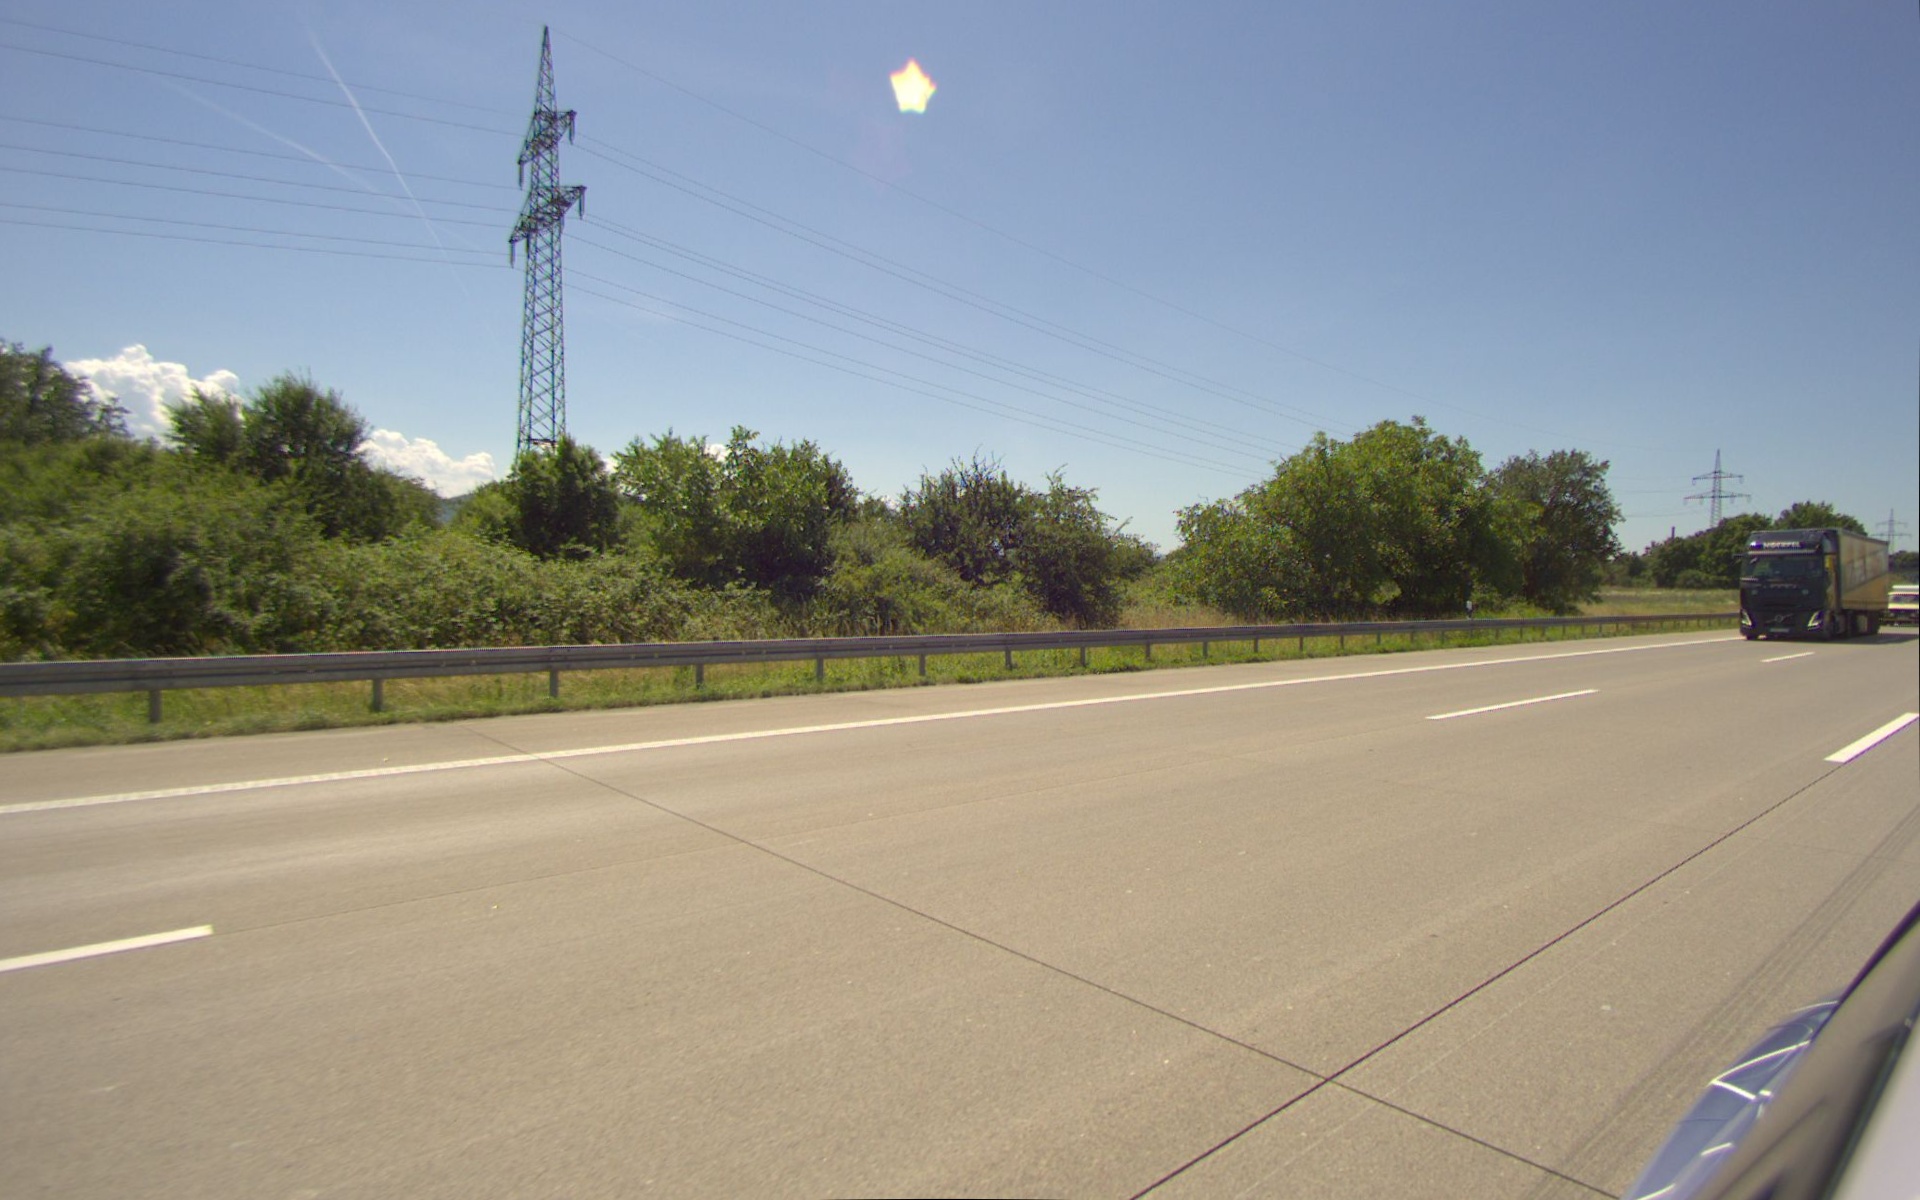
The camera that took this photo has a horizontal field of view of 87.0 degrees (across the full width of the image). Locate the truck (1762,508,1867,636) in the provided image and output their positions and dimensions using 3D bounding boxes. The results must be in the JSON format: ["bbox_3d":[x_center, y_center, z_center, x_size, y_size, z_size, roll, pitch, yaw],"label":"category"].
[{"bbox_3d":[30.554,-0.936,36.129,5.606,4.246,1.997,0,0,-41],"label":"truck"}]

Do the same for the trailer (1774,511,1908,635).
[{"bbox_3d":[35.354,-0.968,40.304,14.487,4.246,1.997,0,0,-41],"label":"trailer"}]

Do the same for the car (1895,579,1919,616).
[{"bbox_3d":[53.346,-0.142,56.107,3.752,2.039,1.787,0,0,-41],"label":"car"}]

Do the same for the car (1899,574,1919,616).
[{"bbox_3d":[56.786,-0.293,59.178,5.419,2.377,2.138,0,0,-41],"label":"car"}]
